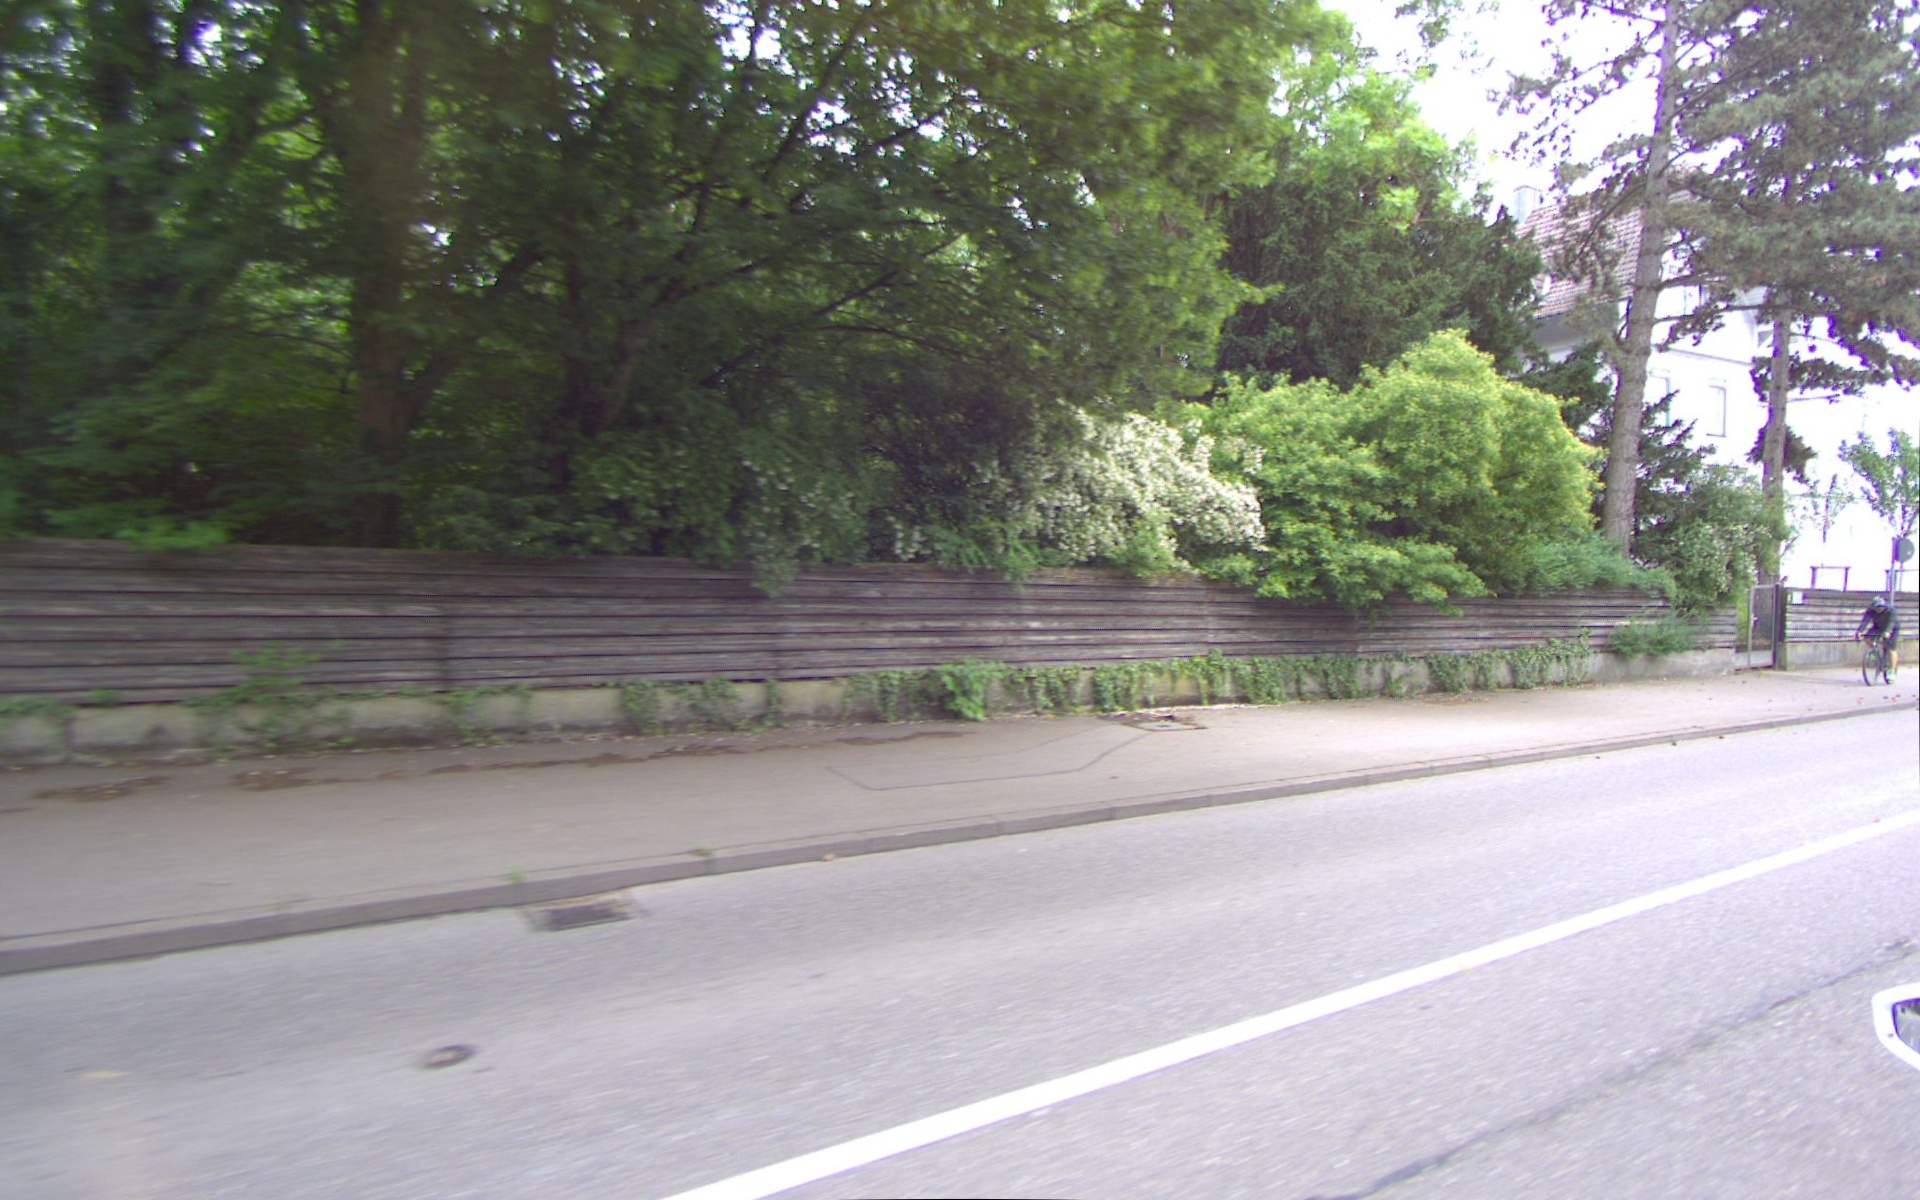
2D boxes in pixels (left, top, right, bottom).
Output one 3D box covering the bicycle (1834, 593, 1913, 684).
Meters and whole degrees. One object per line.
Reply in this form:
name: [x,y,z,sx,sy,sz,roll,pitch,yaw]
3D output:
bicycle: [17.954,0.740,19.726,1.958,1.699,0.558,1,2,-32]
